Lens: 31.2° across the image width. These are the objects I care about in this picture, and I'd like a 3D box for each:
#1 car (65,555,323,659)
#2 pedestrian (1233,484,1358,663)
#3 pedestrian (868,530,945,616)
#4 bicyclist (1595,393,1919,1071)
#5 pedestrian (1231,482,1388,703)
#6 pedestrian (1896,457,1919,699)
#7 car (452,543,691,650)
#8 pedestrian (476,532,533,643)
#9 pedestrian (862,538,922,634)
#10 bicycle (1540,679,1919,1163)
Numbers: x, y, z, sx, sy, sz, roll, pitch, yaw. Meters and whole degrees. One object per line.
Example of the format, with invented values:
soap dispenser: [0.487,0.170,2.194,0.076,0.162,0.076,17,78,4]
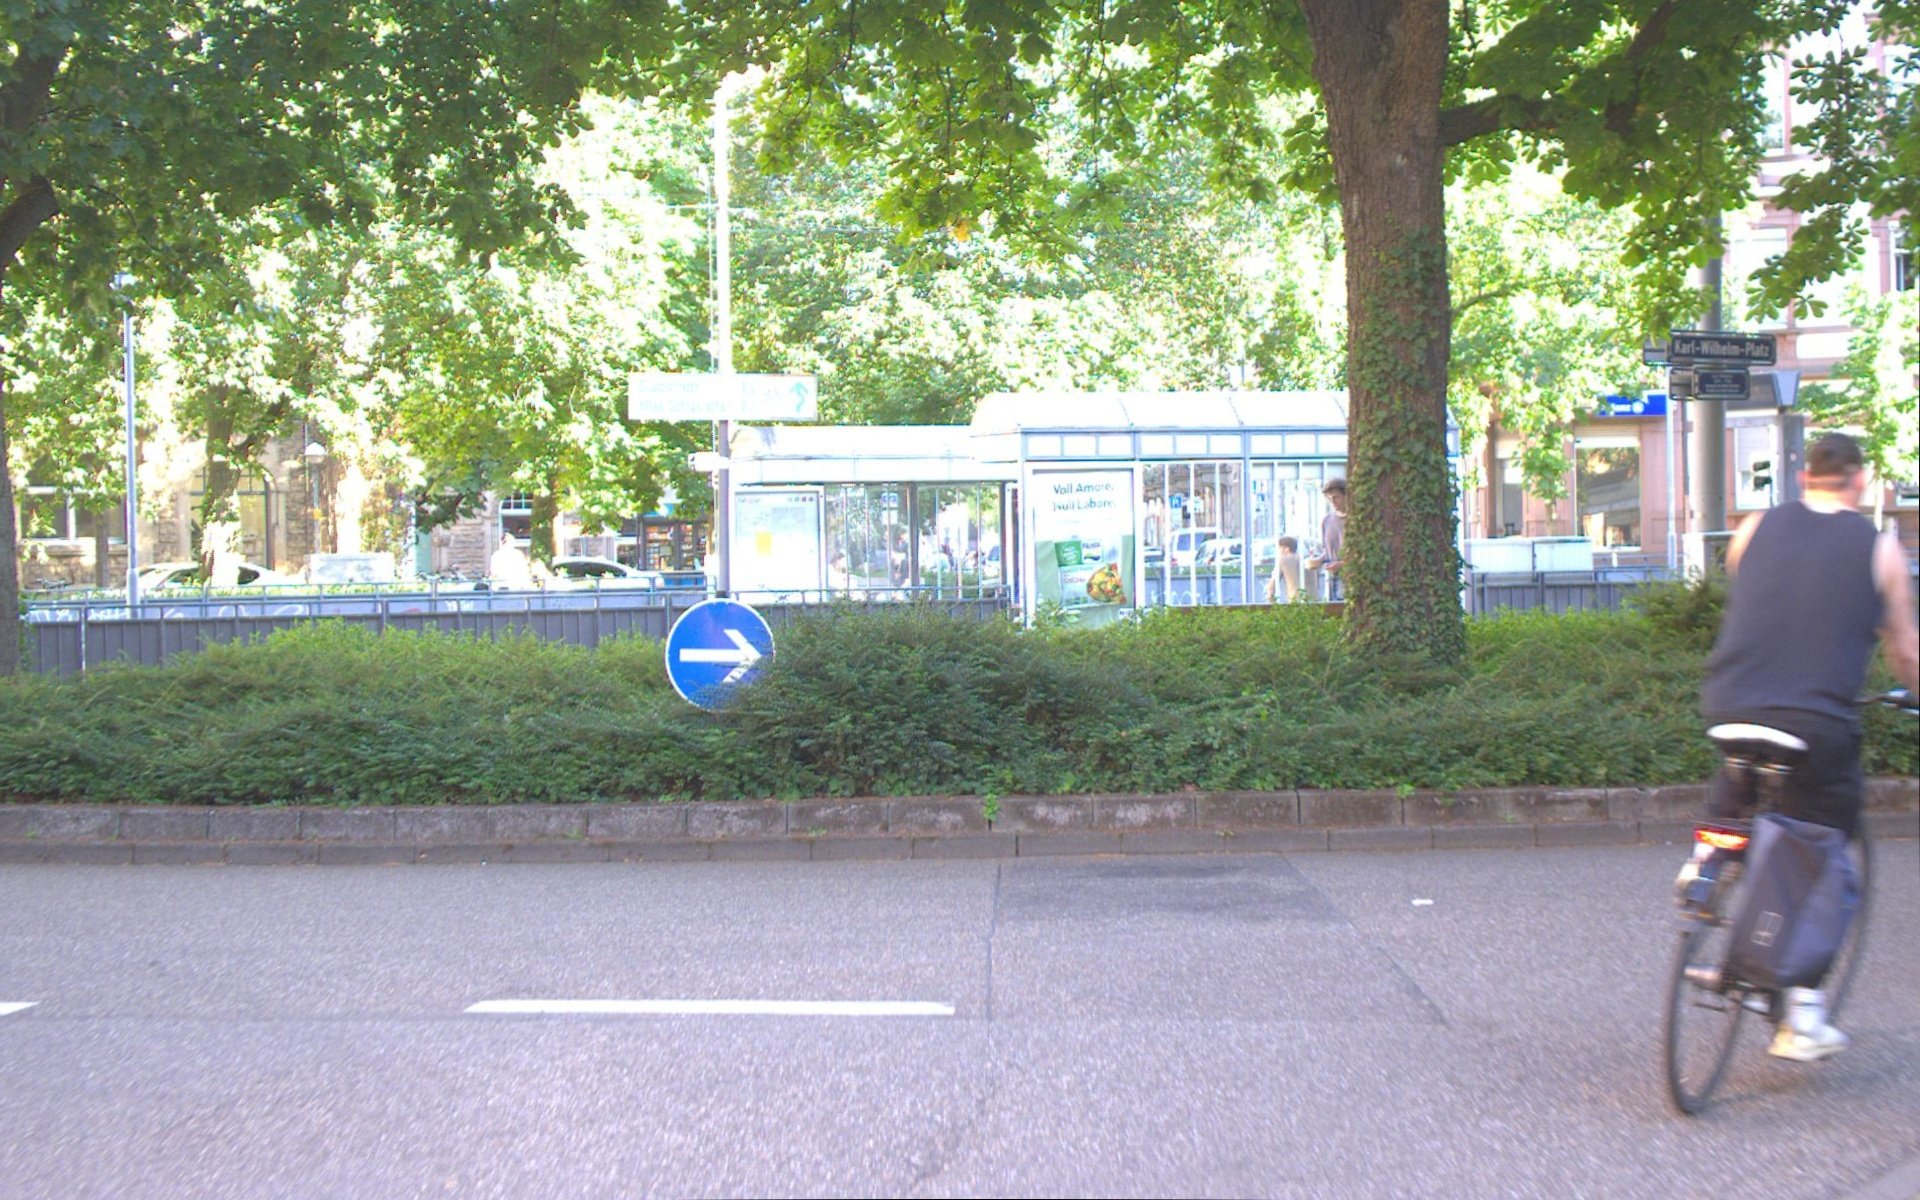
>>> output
car: [-13.448,0.103,60.474,3.938,1.673,1.953,-2,2,-44]
pedestrian: [3.640,-0.294,37.340,1.016,1.891,0.912,-1,1,-22]
pedestrian: [-1.038,-0.519,66.576,1.003,1.625,1.062,0,1,43]
bicyclist: [2.208,0.319,9.082,0.753,1.676,0.912,-1,1,29]
pedestrian: [2.724,-0.064,26.772,0.898,1.678,0.818,-1,1,34]
pedestrian: [7.103,-0.171,24.143,0.916,1.678,0.780,-1,1,10]
car: [-7.299,-0.090,64.620,3.986,1.864,2.000,-2,1,-26]
pedestrian: [-7.008,-0.198,52.889,0.701,1.689,0.671,1,1,-22]
pedestrian: [-1.106,-0.231,55.446,0.809,1.538,0.821,1,1,-11]
bicycle: [2.236,0.777,9.120,0.739,1.008,2.058,1,2,29]
